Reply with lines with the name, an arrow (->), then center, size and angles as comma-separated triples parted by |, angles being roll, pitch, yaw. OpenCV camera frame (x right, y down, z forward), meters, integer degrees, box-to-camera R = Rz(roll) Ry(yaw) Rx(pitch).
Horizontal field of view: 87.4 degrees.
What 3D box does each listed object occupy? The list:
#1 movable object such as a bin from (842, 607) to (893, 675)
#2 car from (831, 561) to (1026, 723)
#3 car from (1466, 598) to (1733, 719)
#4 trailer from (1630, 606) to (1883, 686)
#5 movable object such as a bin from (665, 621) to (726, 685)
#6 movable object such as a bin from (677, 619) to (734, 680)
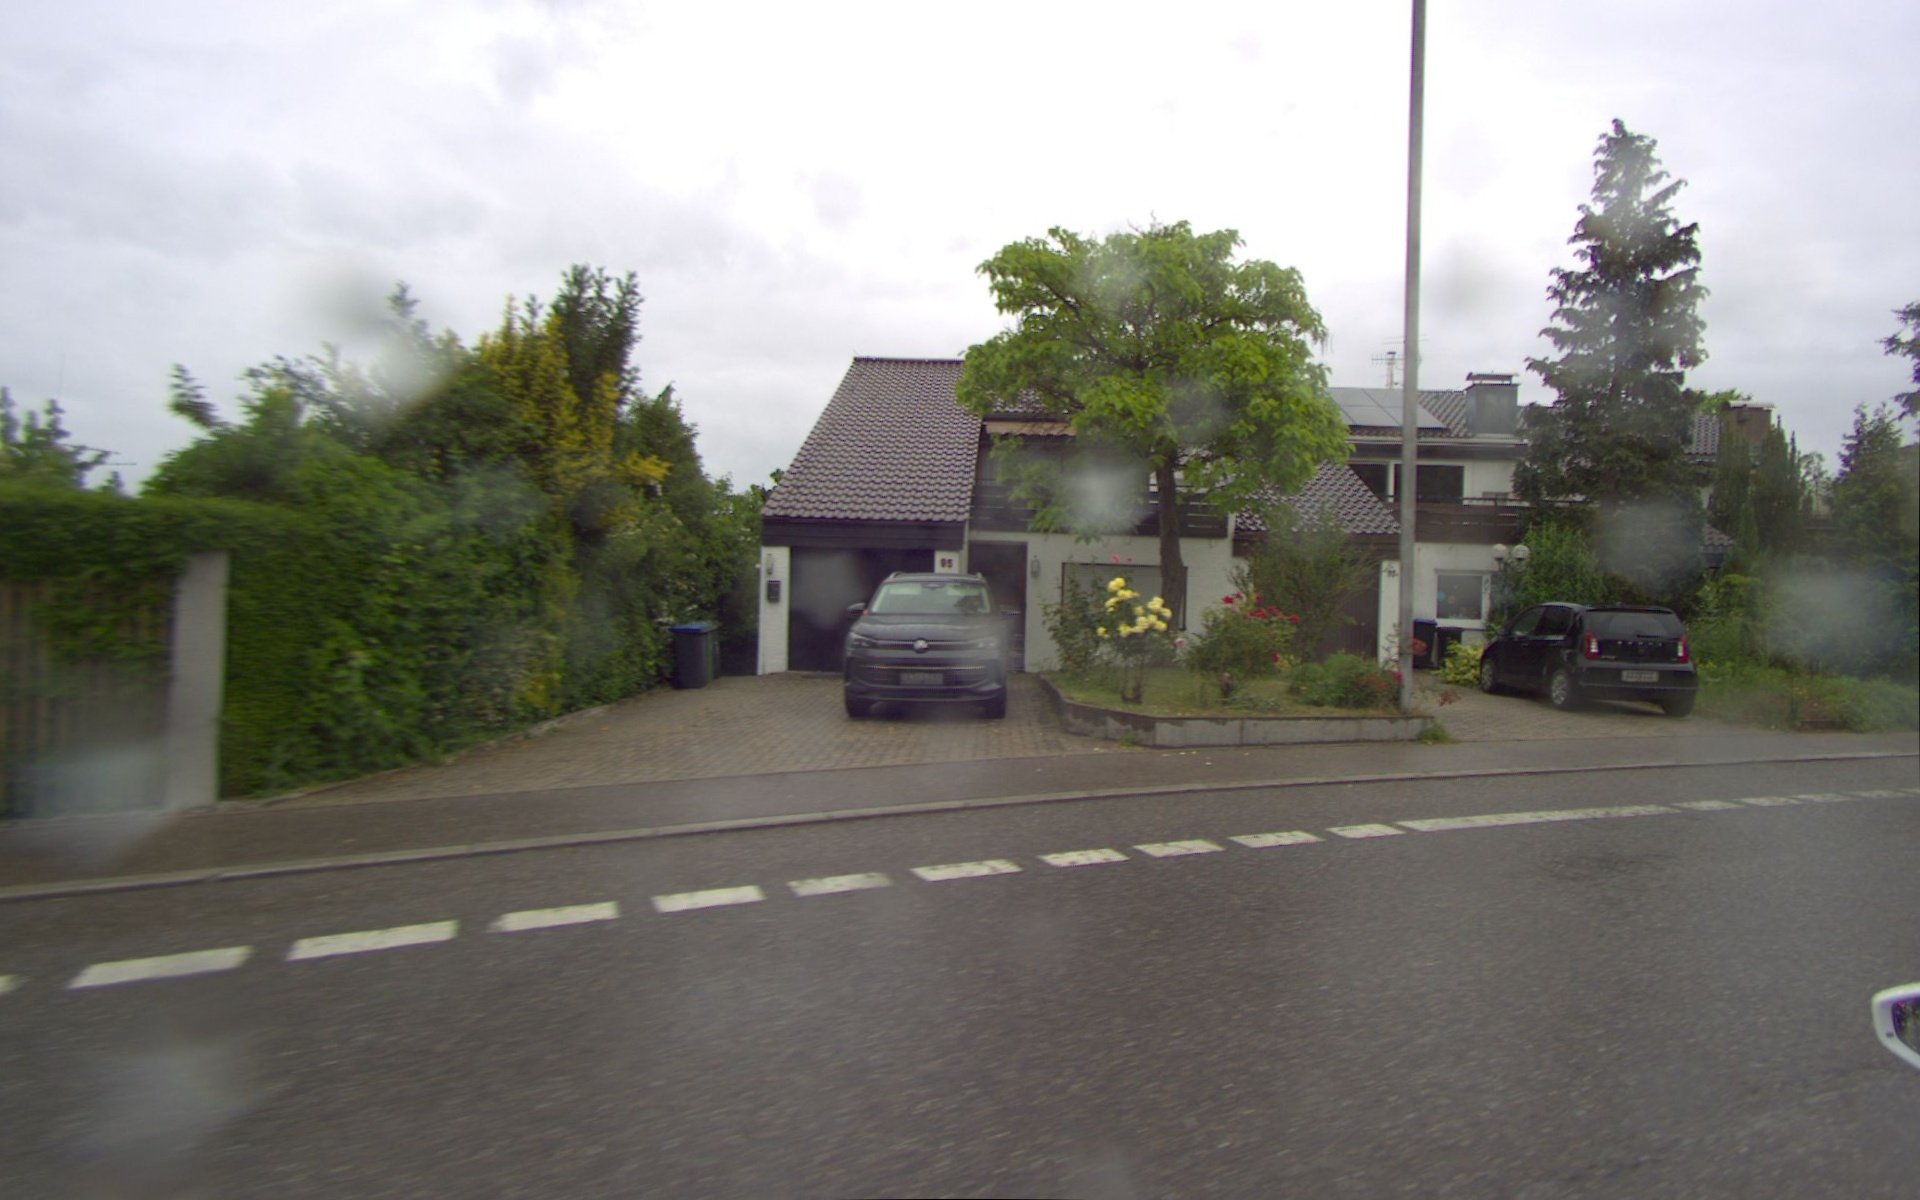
movable object such as a bin -> -1.482, 0.651, 16.195 | 0.718, 1.050, 0.720 | 1, 0, 1
car -> -0.205, 0.411, 12.382 | 1.973, 1.653, 4.001 | 1, 1, 4
car -> 9.115, 0.726, 14.770 | 1.901, 1.408, 4.002 | 3, 1, 11
trailer -> 15.010, 0.808, 19.221 | 1.888, 1.223, 3.696 | 1, 2, 0
movable object such as a bin -> -3.962, 0.779, 15.073 | 0.729, 0.915, 0.729 | 1, 0, -2
movable object such as a bin -> -4.000, 0.769, 15.825 | 0.729, 0.915, 0.729 | 1, 0, -2
